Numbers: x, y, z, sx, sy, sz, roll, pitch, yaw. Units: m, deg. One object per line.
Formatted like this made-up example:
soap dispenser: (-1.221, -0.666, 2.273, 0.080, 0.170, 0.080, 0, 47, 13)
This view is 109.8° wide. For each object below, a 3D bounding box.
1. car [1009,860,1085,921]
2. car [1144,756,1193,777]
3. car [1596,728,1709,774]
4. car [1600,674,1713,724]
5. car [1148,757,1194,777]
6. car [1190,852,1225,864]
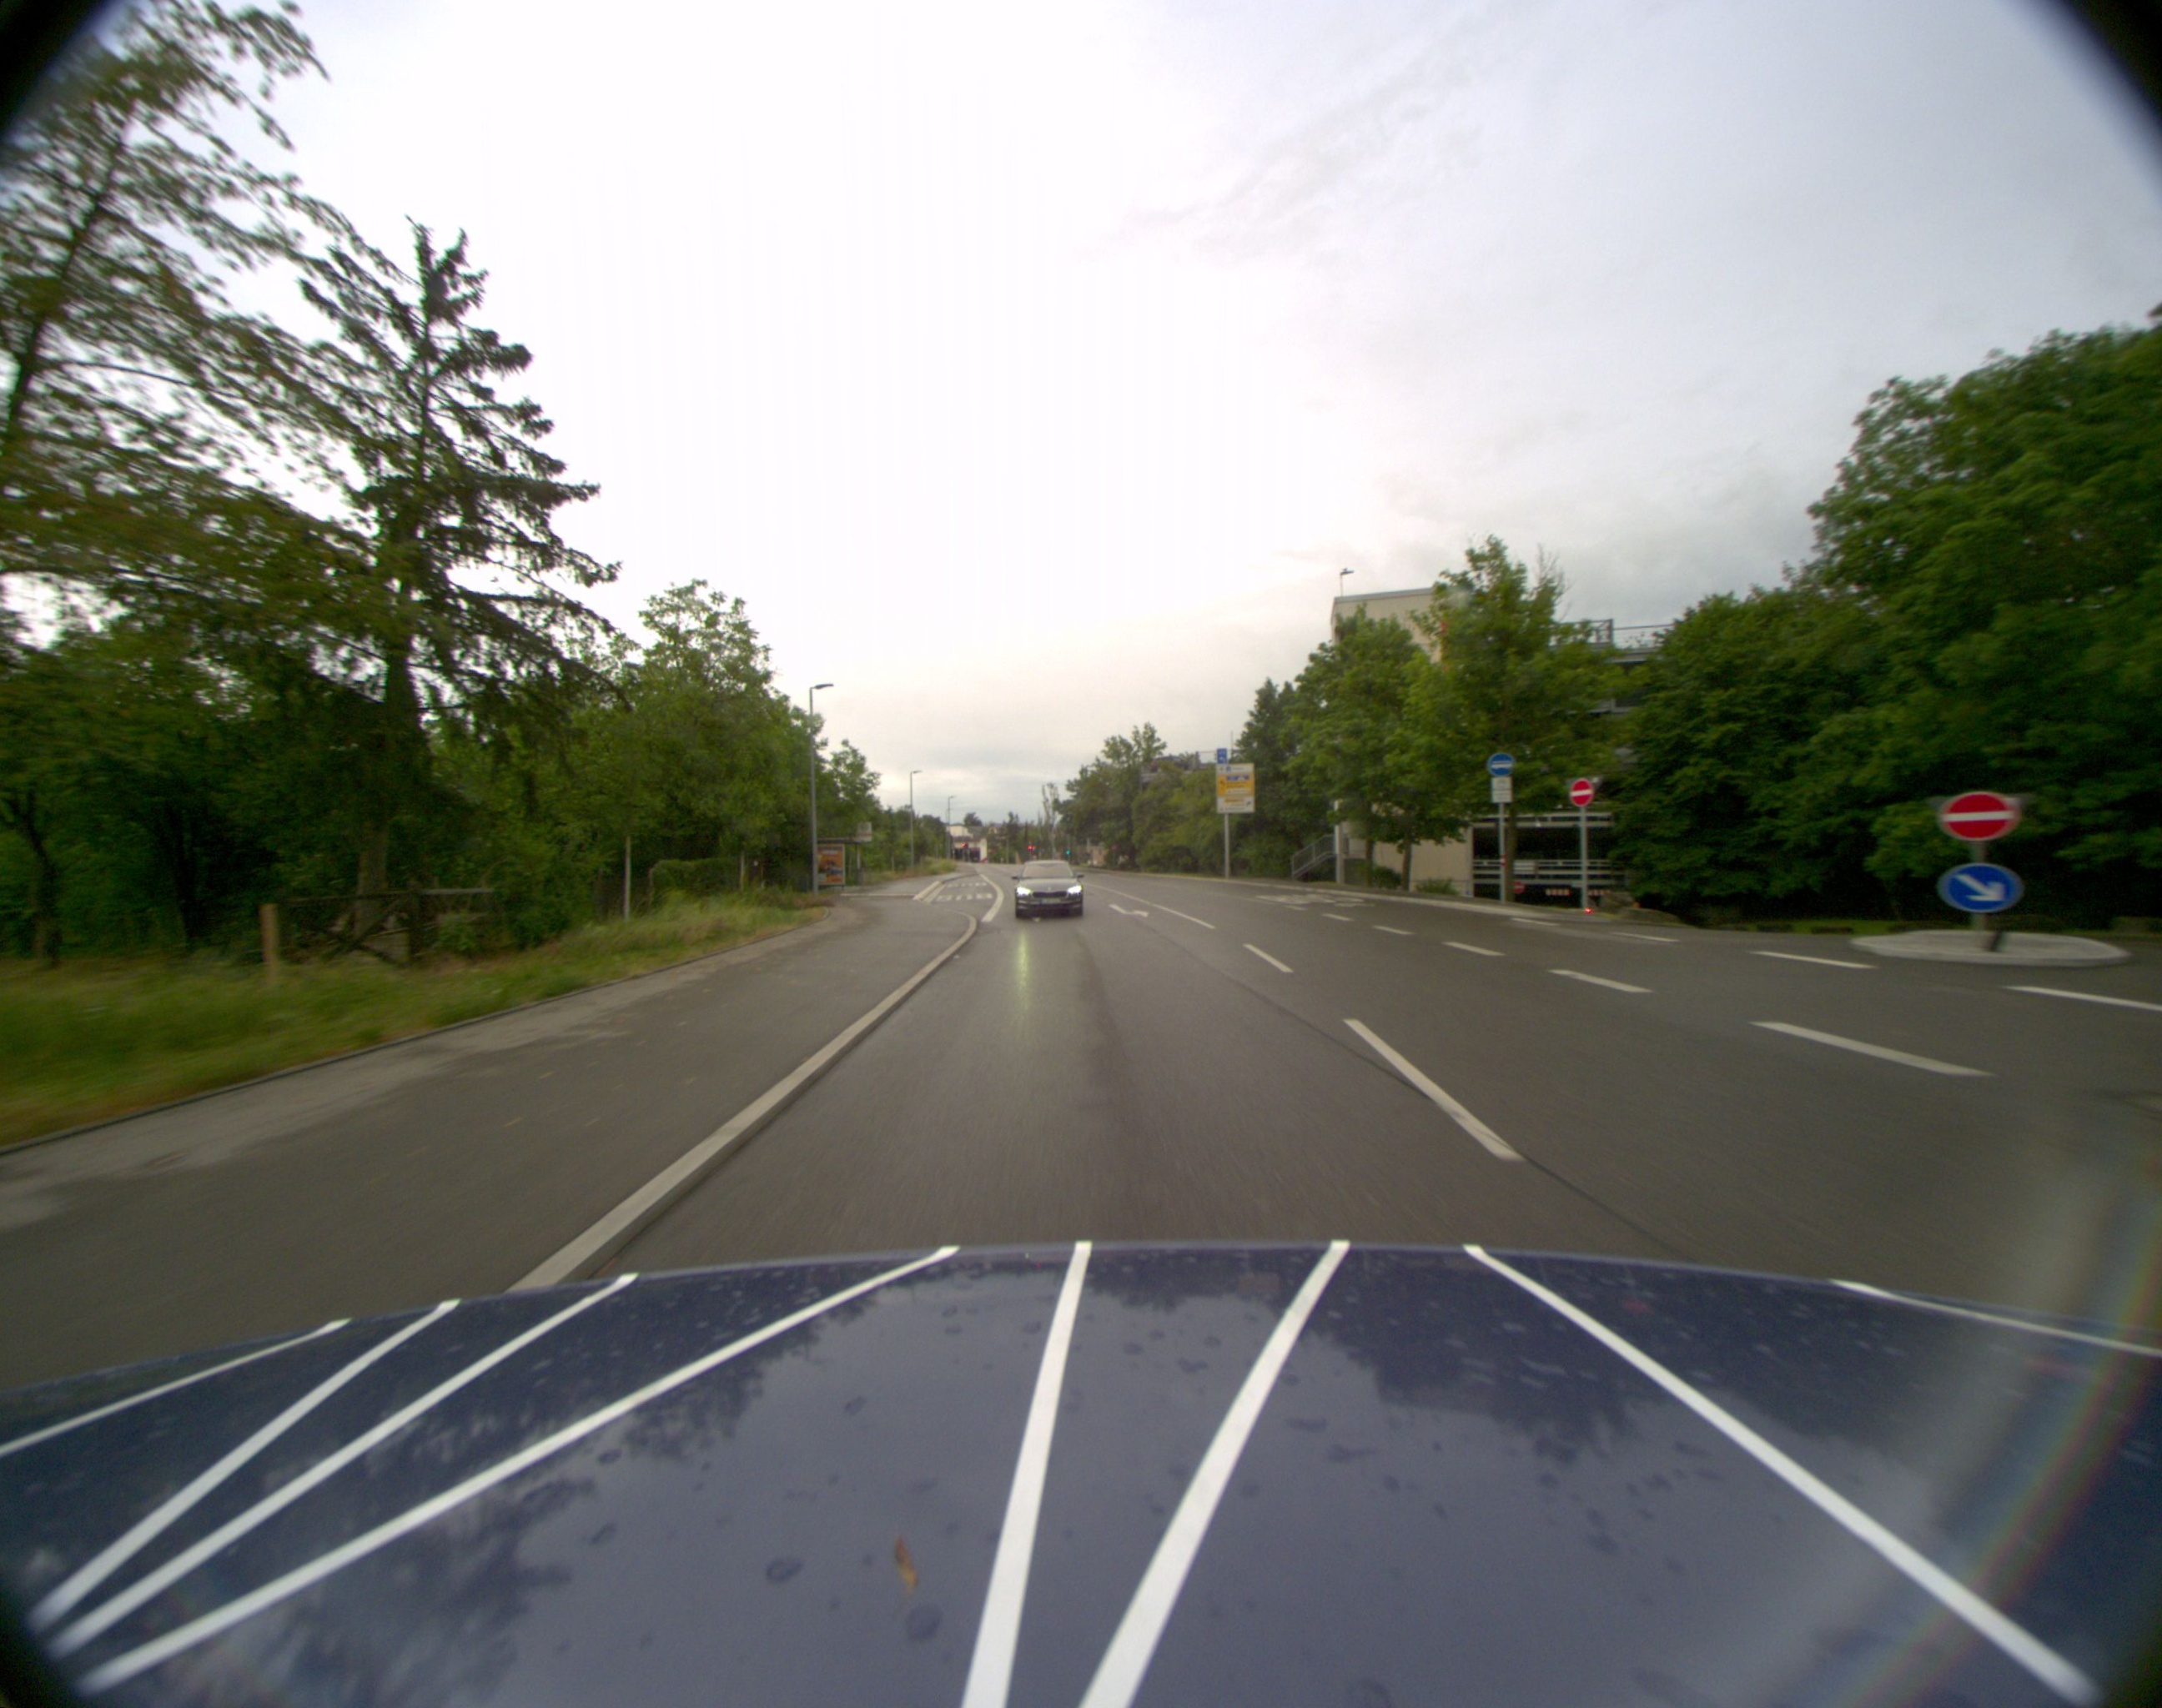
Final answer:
car: (-0.887, 0.934, 21.118, 1.839, 1.448, 4.201, -3, 0, -1)
car: (7.821, -7.765, 67.793, 3.991, 1.510, 2.003, 0, 0, 19)
car: (28.327, -5.084, 37.808, 3.992, 1.761, 2.003, -1, -1, 15)
car: (28.284, -7.596, 37.497, 3.992, 1.761, 2.003, -1, -1, 15)
car: (8.502, -8.198, 71.846, 3.991, 1.510, 2.003, 0, 0, 19)
car: (15.894, 0.459, 95.485, 3.991, 1.510, 2.003, 0, 0, 19)
